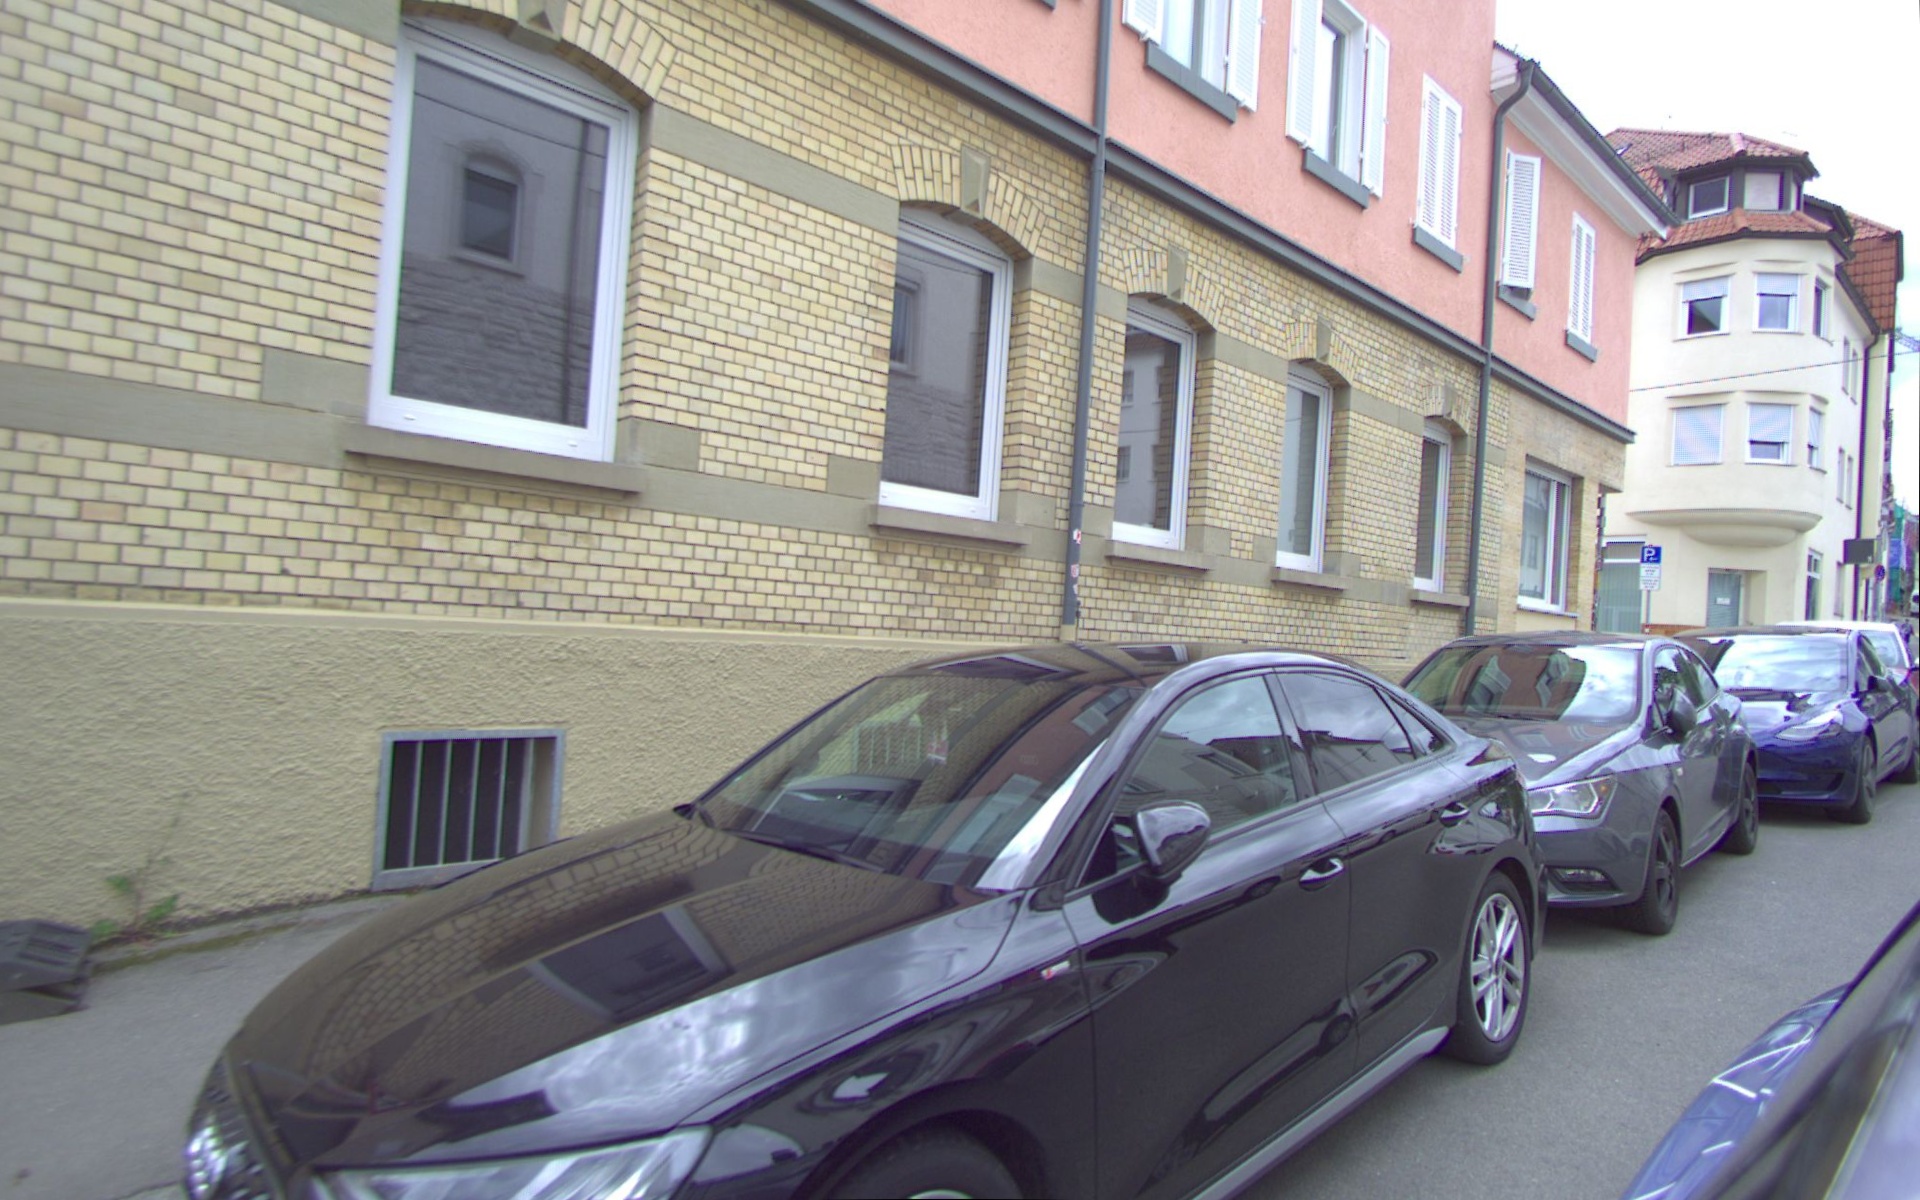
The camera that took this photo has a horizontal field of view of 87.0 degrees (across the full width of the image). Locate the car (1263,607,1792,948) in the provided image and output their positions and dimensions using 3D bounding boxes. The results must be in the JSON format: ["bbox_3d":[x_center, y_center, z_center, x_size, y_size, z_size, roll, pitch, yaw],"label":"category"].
[{"bbox_3d":[3.726,0.795,6.316,3.900,1.421,1.854,2,-1,-44],"label":"car"}]

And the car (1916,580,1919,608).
[{"bbox_3d":[94.998,-0.509,98.833,2.188,2.678,5.736,5,3,43],"label":"car"}]

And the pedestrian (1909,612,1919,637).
[{"bbox_3d":[58.232,1.478,61.419,0.750,1.507,0.560,2,0,31],"label":"pedestrian"}]

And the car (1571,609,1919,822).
[{"bbox_3d":[7.185,0.833,8.937,4.216,1.421,1.855,2,-1,-41],"label":"car"}]

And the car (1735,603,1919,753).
[{"bbox_3d":[10.743,0.848,12.208,3.565,1.498,1.669,2,1,-44],"label":"car"}]

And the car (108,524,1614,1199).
[{"bbox_3d":[0.310,0.682,3.180,4.496,1.421,1.855,2,-1,-42],"label":"car"}]
